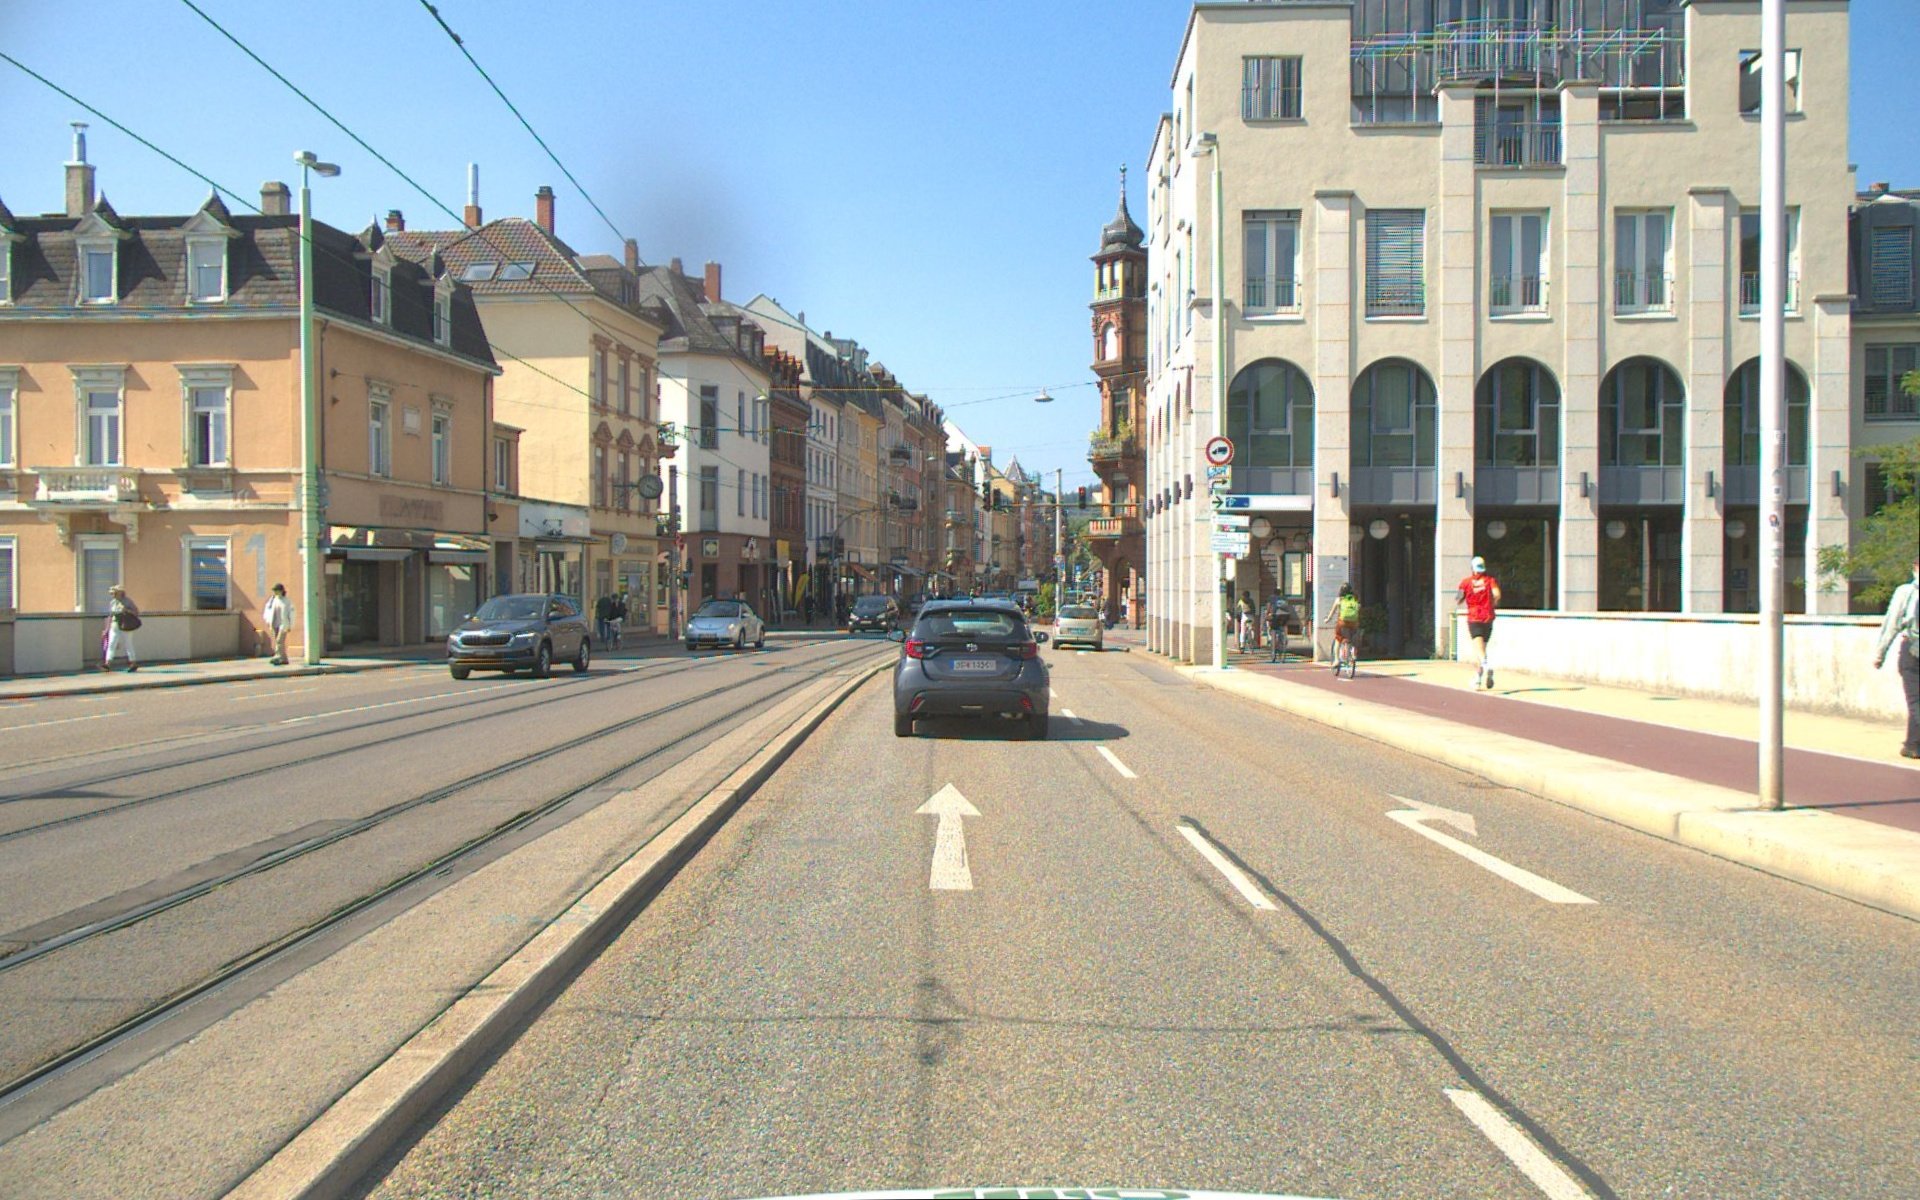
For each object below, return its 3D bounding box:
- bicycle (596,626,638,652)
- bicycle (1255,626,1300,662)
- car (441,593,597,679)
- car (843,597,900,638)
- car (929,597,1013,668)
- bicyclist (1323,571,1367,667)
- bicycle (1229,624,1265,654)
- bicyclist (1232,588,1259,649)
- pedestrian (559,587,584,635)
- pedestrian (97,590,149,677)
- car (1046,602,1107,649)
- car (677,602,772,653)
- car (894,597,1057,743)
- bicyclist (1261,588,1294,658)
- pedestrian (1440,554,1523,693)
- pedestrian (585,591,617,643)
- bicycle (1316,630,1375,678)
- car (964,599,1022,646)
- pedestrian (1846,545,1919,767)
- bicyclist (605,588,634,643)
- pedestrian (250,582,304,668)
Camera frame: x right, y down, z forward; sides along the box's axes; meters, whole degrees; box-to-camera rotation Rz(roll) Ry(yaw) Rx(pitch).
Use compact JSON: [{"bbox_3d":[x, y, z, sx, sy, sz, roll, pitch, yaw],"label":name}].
[{"bbox_3d":[-10.749,1.204,51.926,0.607,0.728,2.047,2,1,9],"label":"bicycle"},{"bbox_3d":[7.322,1.011,38.205,0.582,0.779,1.830,-1,0,-3],"label":"bicycle"},{"bbox_3d":[-8.496,0.668,32.199,1.756,1.572,3.922,0,0,4],"label":"car"},{"bbox_3d":[-3.962,0.786,74.528,1.951,1.804,4.003,0,0,6],"label":"car"},{"bbox_3d":[0.210,0.730,39.142,1.859,1.557,3.999,1,0,-1],"label":"car"},{"bbox_3d":[6.834,0.339,29.378,0.592,1.679,0.702,-1,0,0],"label":"bicyclist"},{"bbox_3d":[8.003,1.087,46.123,0.582,0.779,1.865,-1,0,-3],"label":"bicycle"},{"bbox_3d":[7.977,0.504,46.282,0.575,1.679,0.701,-1,0,-3],"label":"bicyclist"},{"bbox_3d":[-13.633,0.381,57.984,0.636,1.629,0.566,4,2,0],"label":"pedestrian"},{"bbox_3d":[-16.305,0.650,32.233,0.636,1.629,0.566,4,2,0],"label":"pedestrian"},{"bbox_3d":[3.907,0.844,55.931,1.671,1.491,4.325,1,0,-1],"label":"car"},{"bbox_3d":[-7.217,0.834,50.974,1.951,1.457,4.003,1,0,6],"label":"car"},{"bbox_3d":[0.137,0.740,19.286,1.685,1.499,3.657,1,0,-1],"label":"car"},{"bbox_3d":[7.319,0.518,38.133,0.575,1.586,0.701,-1,0,-3],"label":"bicyclist"},{"bbox_3d":[7.566,0.339,24.029,0.794,1.958,1.127,-1,0,-1],"label":"pedestrian"},{"bbox_3d":[-12.216,0.576,56.269,0.746,1.682,0.712,4,-1,6],"label":"pedestrian"},{"bbox_3d":[6.839,0.946,29.406,0.581,0.779,1.866,-1,0,0],"label":"bicycle"},{"bbox_3d":[1.123,0.769,58.159,1.859,1.557,3.999,1,0,-1],"label":"car"},{"bbox_3d":[7.912,0.432,13.488,0.739,1.748,1.073,-2,0,-1],"label":"pedestrian"},{"bbox_3d":[-10.706,0.480,52.025,0.690,1.679,0.622,2,1,8],"label":"bicyclist"},{"bbox_3d":[-14.850,0.533,35.959,0.721,1.797,0.787,4,-1,0],"label":"pedestrian"}]
